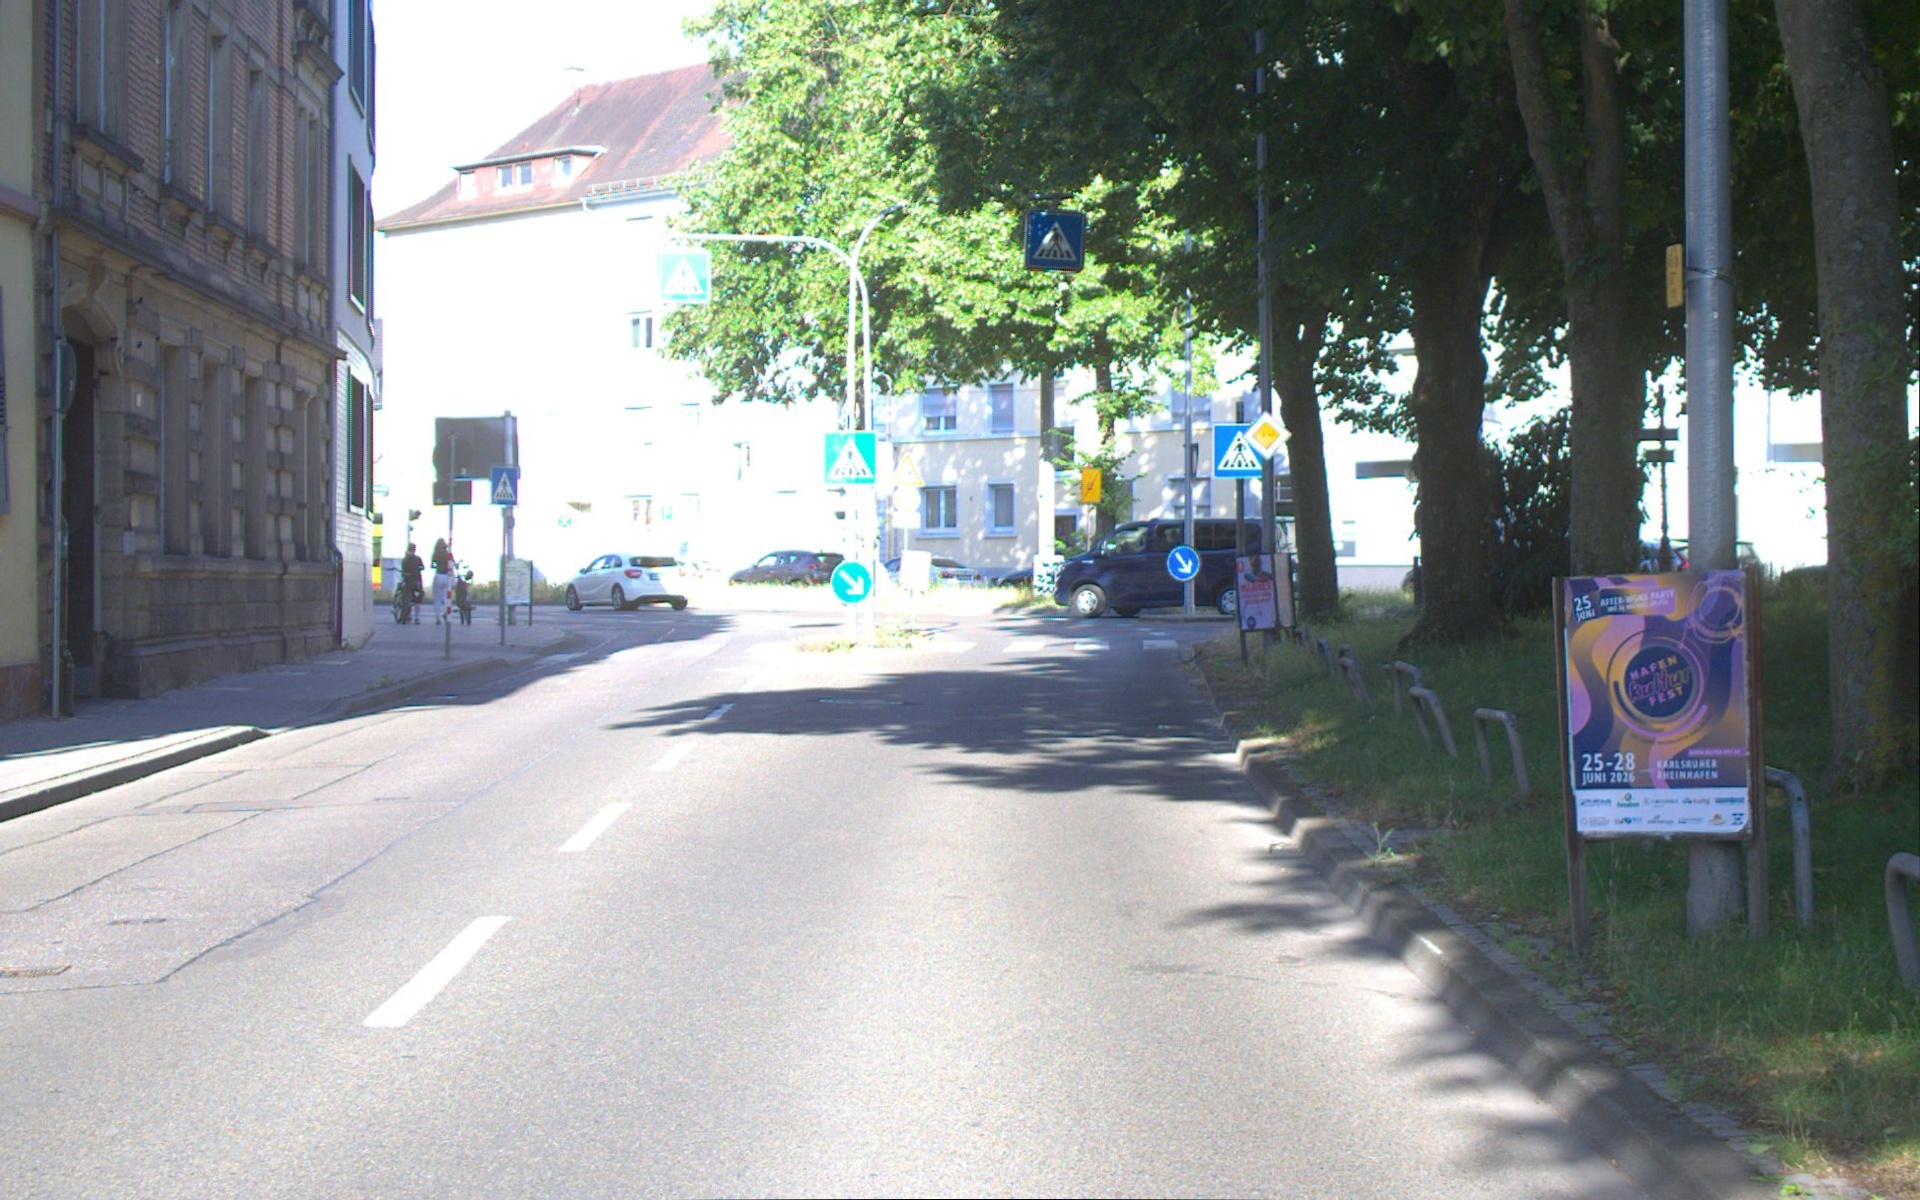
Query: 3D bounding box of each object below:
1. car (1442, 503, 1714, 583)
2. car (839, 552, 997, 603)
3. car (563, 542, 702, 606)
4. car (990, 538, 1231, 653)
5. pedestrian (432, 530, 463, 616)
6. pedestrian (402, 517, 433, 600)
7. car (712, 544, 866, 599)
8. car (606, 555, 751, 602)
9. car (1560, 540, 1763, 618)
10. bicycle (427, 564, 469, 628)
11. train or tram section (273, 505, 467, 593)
[{"bbox_3d":[11.681,-1.091,64.990,4.763,1.458,1.852,1,1,24],"label":"car"},{"bbox_3d":[-1.222,-0.664,98.452,1.995,1.381,4.443,-1,2,-44],"label":"car"},{"bbox_3d":[-8.007,-0.644,83.814,1.958,1.500,3.685,-1,1,-31],"label":"car"},{"bbox_3d":[2.766,-0.092,62.942,3.990,2.007,1.998,1,0,18],"label":"car"},{"bbox_3d":[-9.785,-0.517,65.633,0.474,1.642,0.602,-1,1,-19],"label":"pedestrian"},{"bbox_3d":[-10.327,-0.791,65.478,0.474,1.559,0.602,0,1,-20],"label":"pedestrian"},{"bbox_3d":[-5.123,-0.846,102.606,1.995,1.567,4.638,-1,1,-44],"label":"car"},{"bbox_3d":[-8.744,-0.692,106.422,4.443,1.381,1.995,1,2,43],"label":"car"},{"bbox_3d":[16.240,-0.516,79.745,1.995,1.743,4.207,-1,2,-44],"label":"car"},{"bbox_3d":[-9.769,-0.090,65.533,0.440,1.174,1.967,1,1,-18],"label":"bicycle"},{"bbox_3d":[-24.532,-2.105,143.598,2.779,3.543,9.906,0,0,25],"label":"train or tram section"}]
